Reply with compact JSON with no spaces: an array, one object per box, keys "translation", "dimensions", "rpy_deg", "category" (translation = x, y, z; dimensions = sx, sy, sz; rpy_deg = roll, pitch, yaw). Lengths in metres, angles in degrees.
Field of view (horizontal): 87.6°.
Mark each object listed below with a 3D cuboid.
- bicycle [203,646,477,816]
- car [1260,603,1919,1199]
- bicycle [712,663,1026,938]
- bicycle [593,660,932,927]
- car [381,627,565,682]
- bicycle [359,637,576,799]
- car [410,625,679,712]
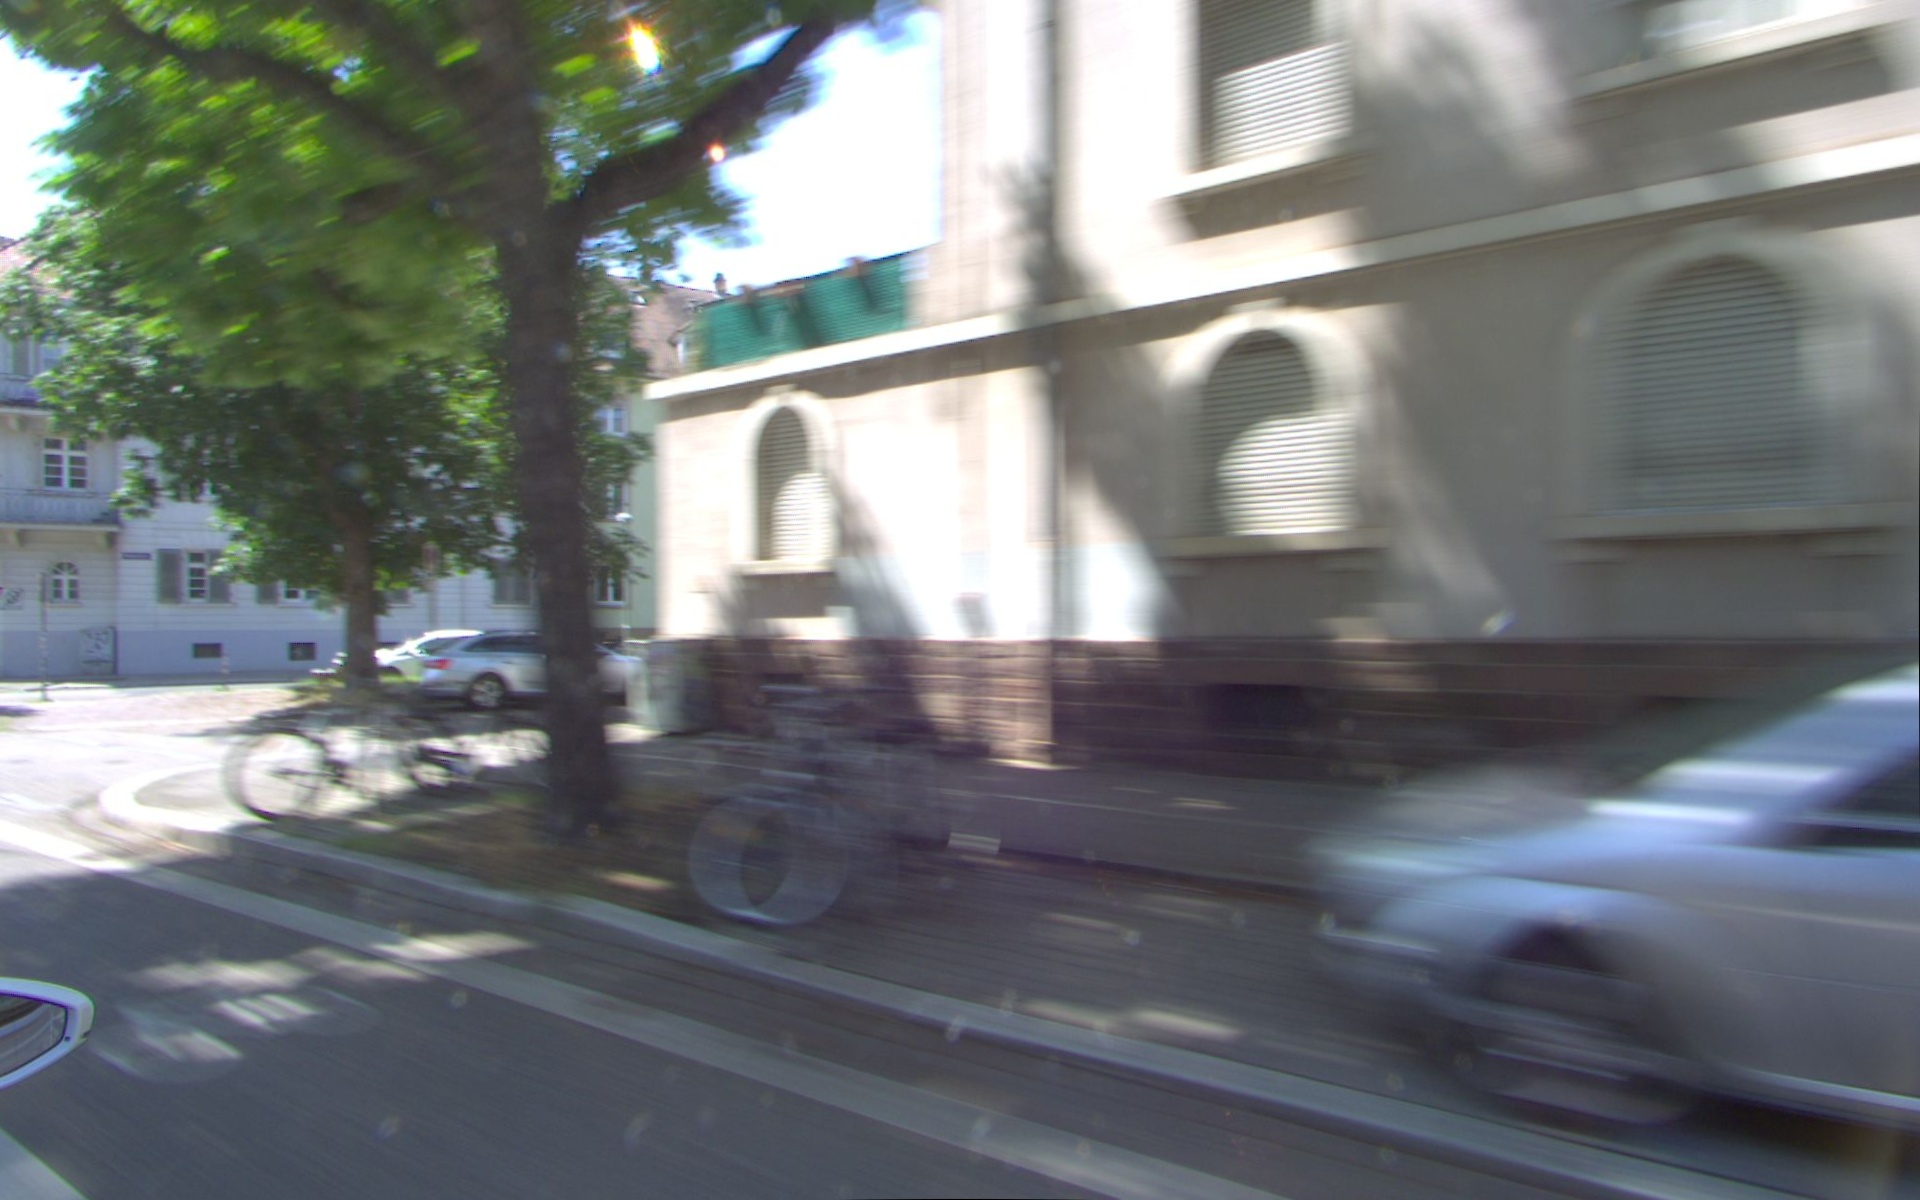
[{"translation":[-4.875,0.975,8.012],"dimensions":[0.486,1.128,1.812],"rpy_deg":[-2,0,31],"category":"bicycle"},{"translation":[3.018,0.774,2.996],"dimensions":[3.756,1.468,1.617],"rpy_deg":[-1,2,32],"category":"car"},{"translation":[-0.402,0.969,5.521],"dimensions":[0.590,1.128,1.957],"rpy_deg":[-2,0,34],"category":"bicycle"},{"translation":[-1.012,0.968,5.700],"dimensions":[0.631,1.128,2.004],"rpy_deg":[-2,0,34],"category":"bicycle"},{"translation":[-13.886,1.508,28.629],"dimensions":[4.630,1.407,1.729],"rpy_deg":[0,0,-31],"category":"car"},{"translation":[-4.233,0.969,8.568],"dimensions":[1.976,1.247,0.579],"rpy_deg":[-2,0,27],"category":"bicycle"},{"translation":[-7.970,1.243,19.355],"dimensions":[4.630,1.456,1.729],"rpy_deg":[0,0,-31],"category":"car"}]
